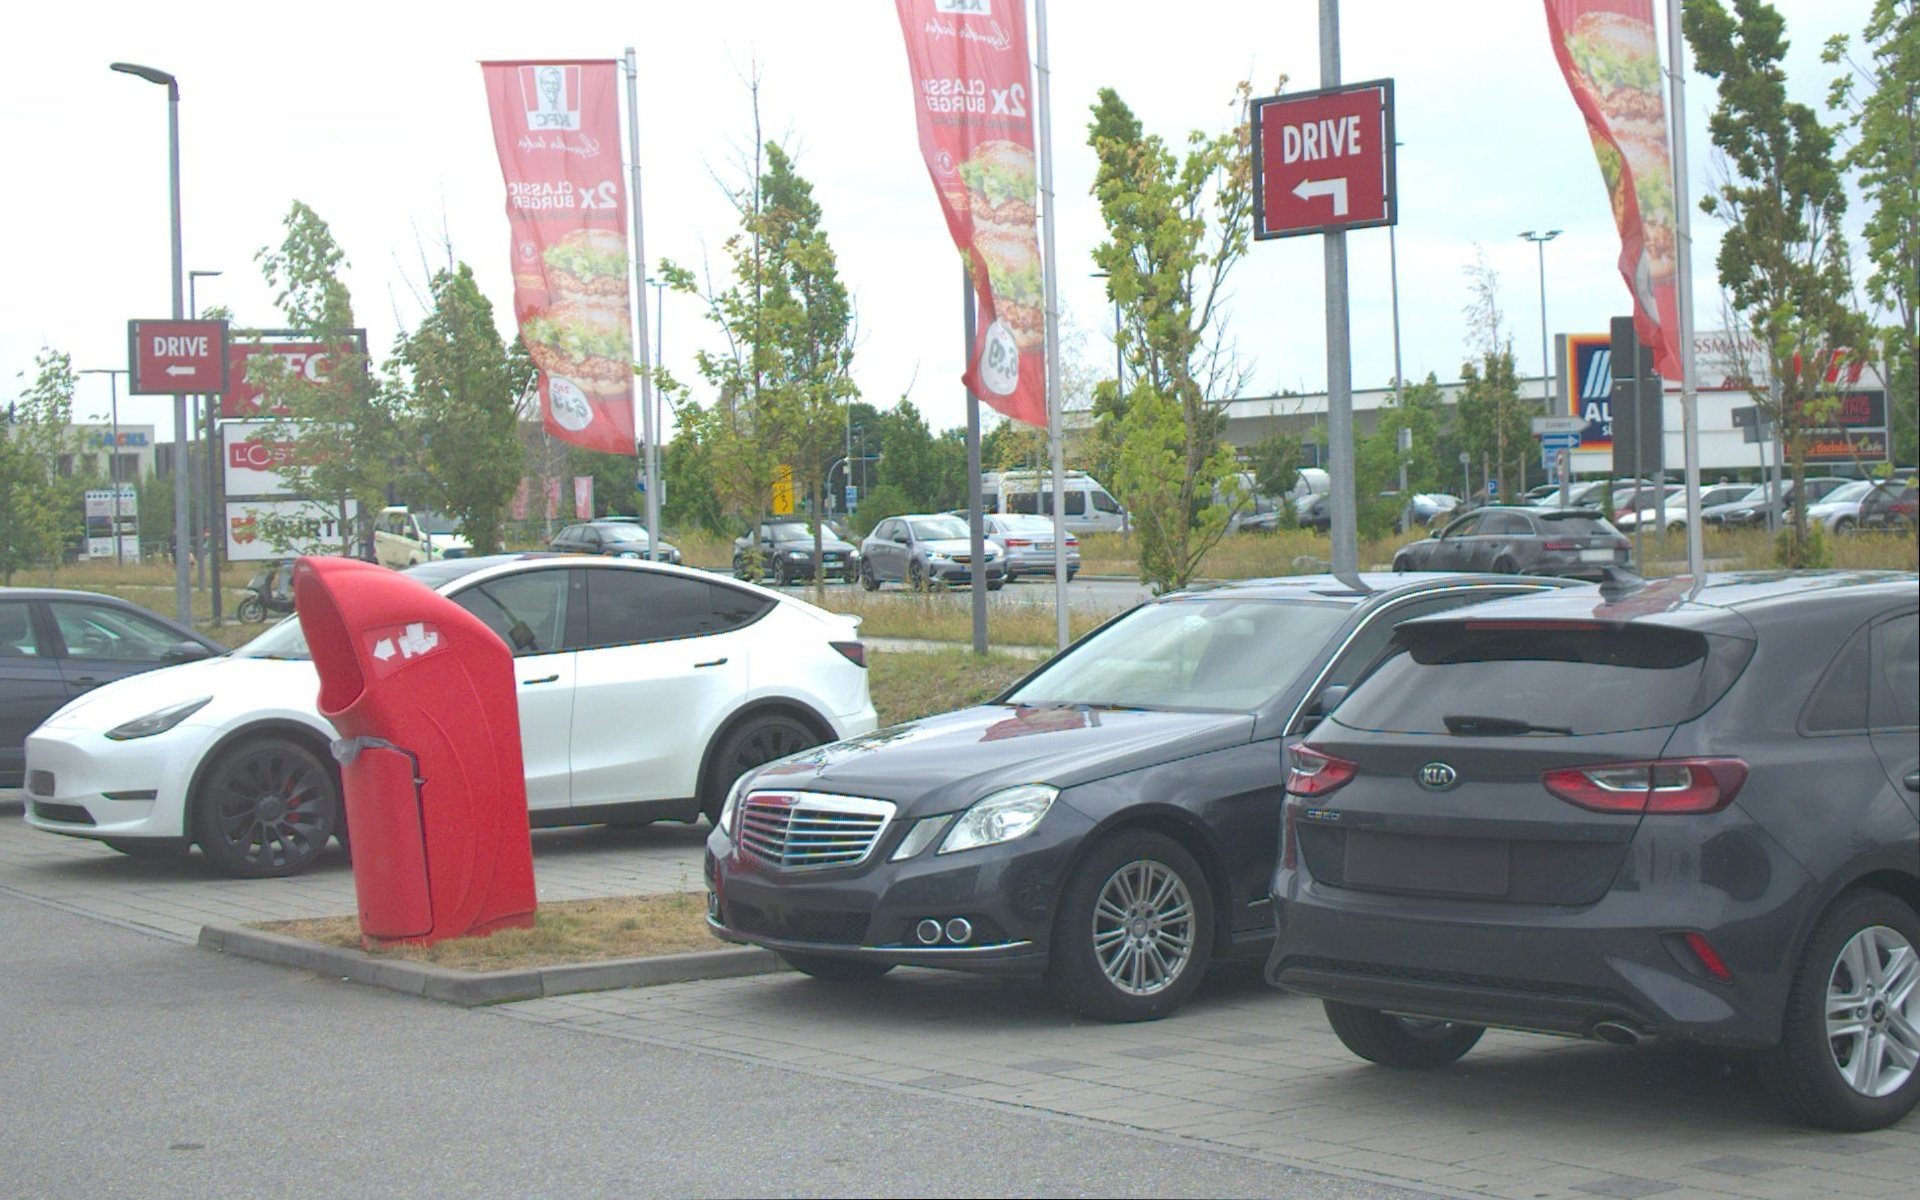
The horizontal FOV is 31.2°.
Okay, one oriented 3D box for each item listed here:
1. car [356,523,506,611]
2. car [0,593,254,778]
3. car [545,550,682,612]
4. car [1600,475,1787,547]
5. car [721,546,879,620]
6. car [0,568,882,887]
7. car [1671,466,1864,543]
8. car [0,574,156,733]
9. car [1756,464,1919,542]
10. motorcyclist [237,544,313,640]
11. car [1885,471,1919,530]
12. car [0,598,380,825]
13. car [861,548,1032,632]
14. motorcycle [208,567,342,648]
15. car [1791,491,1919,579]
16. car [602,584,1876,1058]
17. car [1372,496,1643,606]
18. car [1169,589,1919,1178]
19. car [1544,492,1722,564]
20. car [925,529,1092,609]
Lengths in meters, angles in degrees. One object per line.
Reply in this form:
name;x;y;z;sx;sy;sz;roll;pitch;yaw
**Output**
car;-13.296;-0.852;86.148;1.993;2.079;5.231;-3;2;-28
car;-7.777;0.658;27.224;3.926;1.407;1.840;0;0;-28
car;-8.314;-0.458;82.251;1.763;1.390;4.219;-2;2;-28
car;17.528;-2.125;82.110;4.060;1.496;1.865;-4;2;-28
car;-3.456;-0.380;73.466;1.850;1.494;4.285;-2;1;-25
car;-2.856;0.602;18.620;4.531;1.536;1.925;0;0;-33
car;18.496;-2.190;78.724;4.042;1.534;2.000;-4;2;-32
car;-9.586;0.486;31.617;3.986;1.423;1.728;-1;1;-25
car;19.830;-2.163;76.071;4.042;1.534;2.000;-4;2;-32
motorcyclist;-10.896;-0.136;54.682;0.938;1.483;0.830;-2;1;-27
car;31.843;-3.233;109.474;1.994;1.831;4.185;-4;3;-38
car;-5.922;0.699;22.606;3.795;1.407;1.739;0;0;-31
car;-0.297;-0.210;65.605;1.824;1.454;4.001;-4;2;-22
motorcycle;-10.898;0.112;54.687;1.915;1.204;0.795;-2;1;-27
car;18.347;-1.292;66.084;4.145;1.534;2.001;-4;2;-19
car;1.179;0.669;12.808;4.728;1.451;1.911;0;0;-39
car;8.413;-0.761;53.297;1.796;1.546;4.856;-4;2;-23
car;2.751;0.675;10.299;4.059;1.407;1.888;0;0;-40
car;16.543;-1.774;84.449;4.042;1.534;1.908;-4;2;-32
car;0.966;-0.670;72.287;1.796;1.546;4.856;-3;2;-20
